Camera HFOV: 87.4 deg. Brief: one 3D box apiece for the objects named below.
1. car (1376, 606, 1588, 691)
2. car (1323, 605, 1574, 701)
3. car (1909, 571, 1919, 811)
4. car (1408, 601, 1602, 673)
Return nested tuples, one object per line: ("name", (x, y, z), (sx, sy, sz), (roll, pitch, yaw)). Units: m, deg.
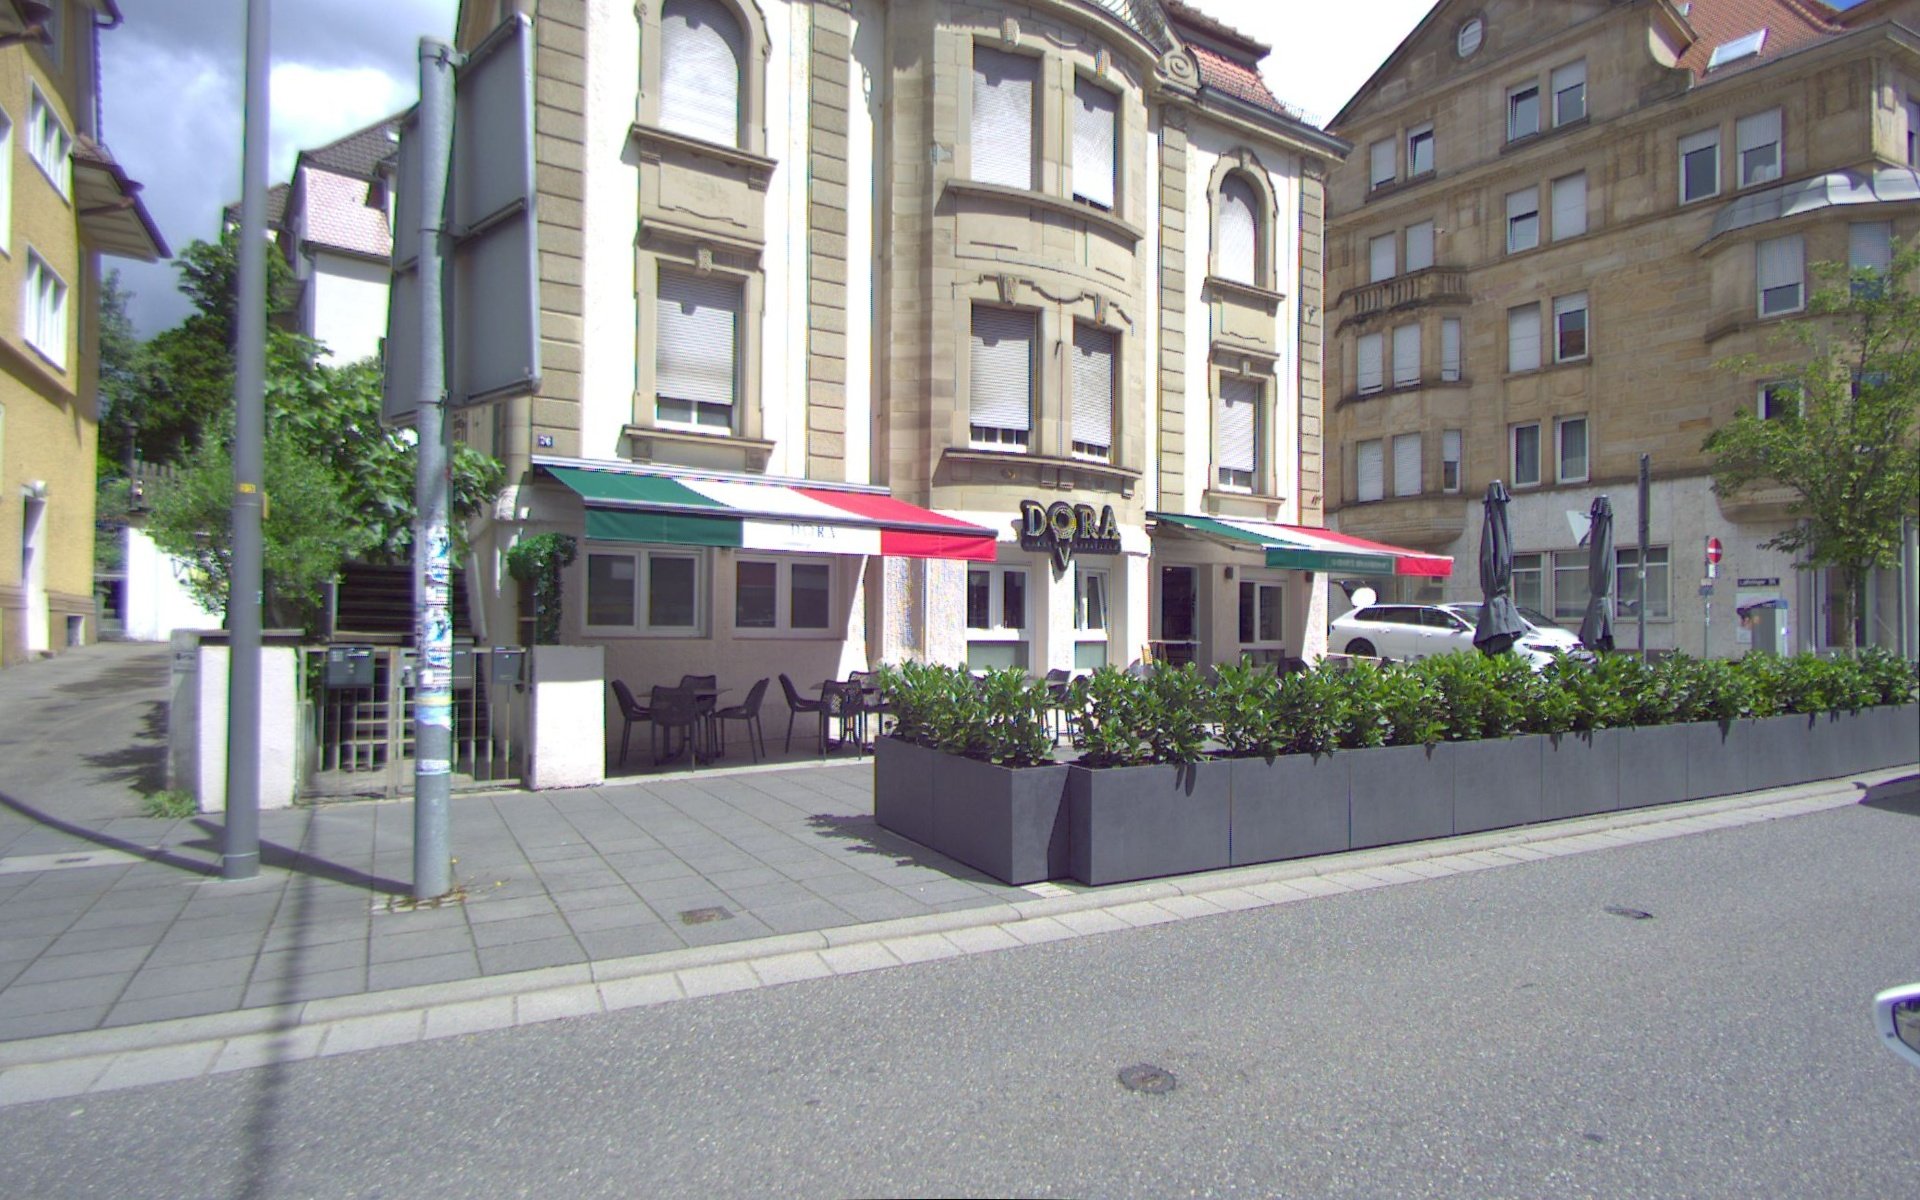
("car", (11.940, 1.050, 23.101), (1.987, 1.773, 3.947), (1, -1, -45))
("car", (10.169, 1.017, 21.119), (1.987, 1.799, 4.374), (1, -1, -45))
("car", (9.826, 0.718, 8.173), (4.515, 1.859, 1.827), (1, -1, -29))
("car", (13.812, 0.894, 25.648), (1.889, 1.684, 3.962), (1, -1, -34))
